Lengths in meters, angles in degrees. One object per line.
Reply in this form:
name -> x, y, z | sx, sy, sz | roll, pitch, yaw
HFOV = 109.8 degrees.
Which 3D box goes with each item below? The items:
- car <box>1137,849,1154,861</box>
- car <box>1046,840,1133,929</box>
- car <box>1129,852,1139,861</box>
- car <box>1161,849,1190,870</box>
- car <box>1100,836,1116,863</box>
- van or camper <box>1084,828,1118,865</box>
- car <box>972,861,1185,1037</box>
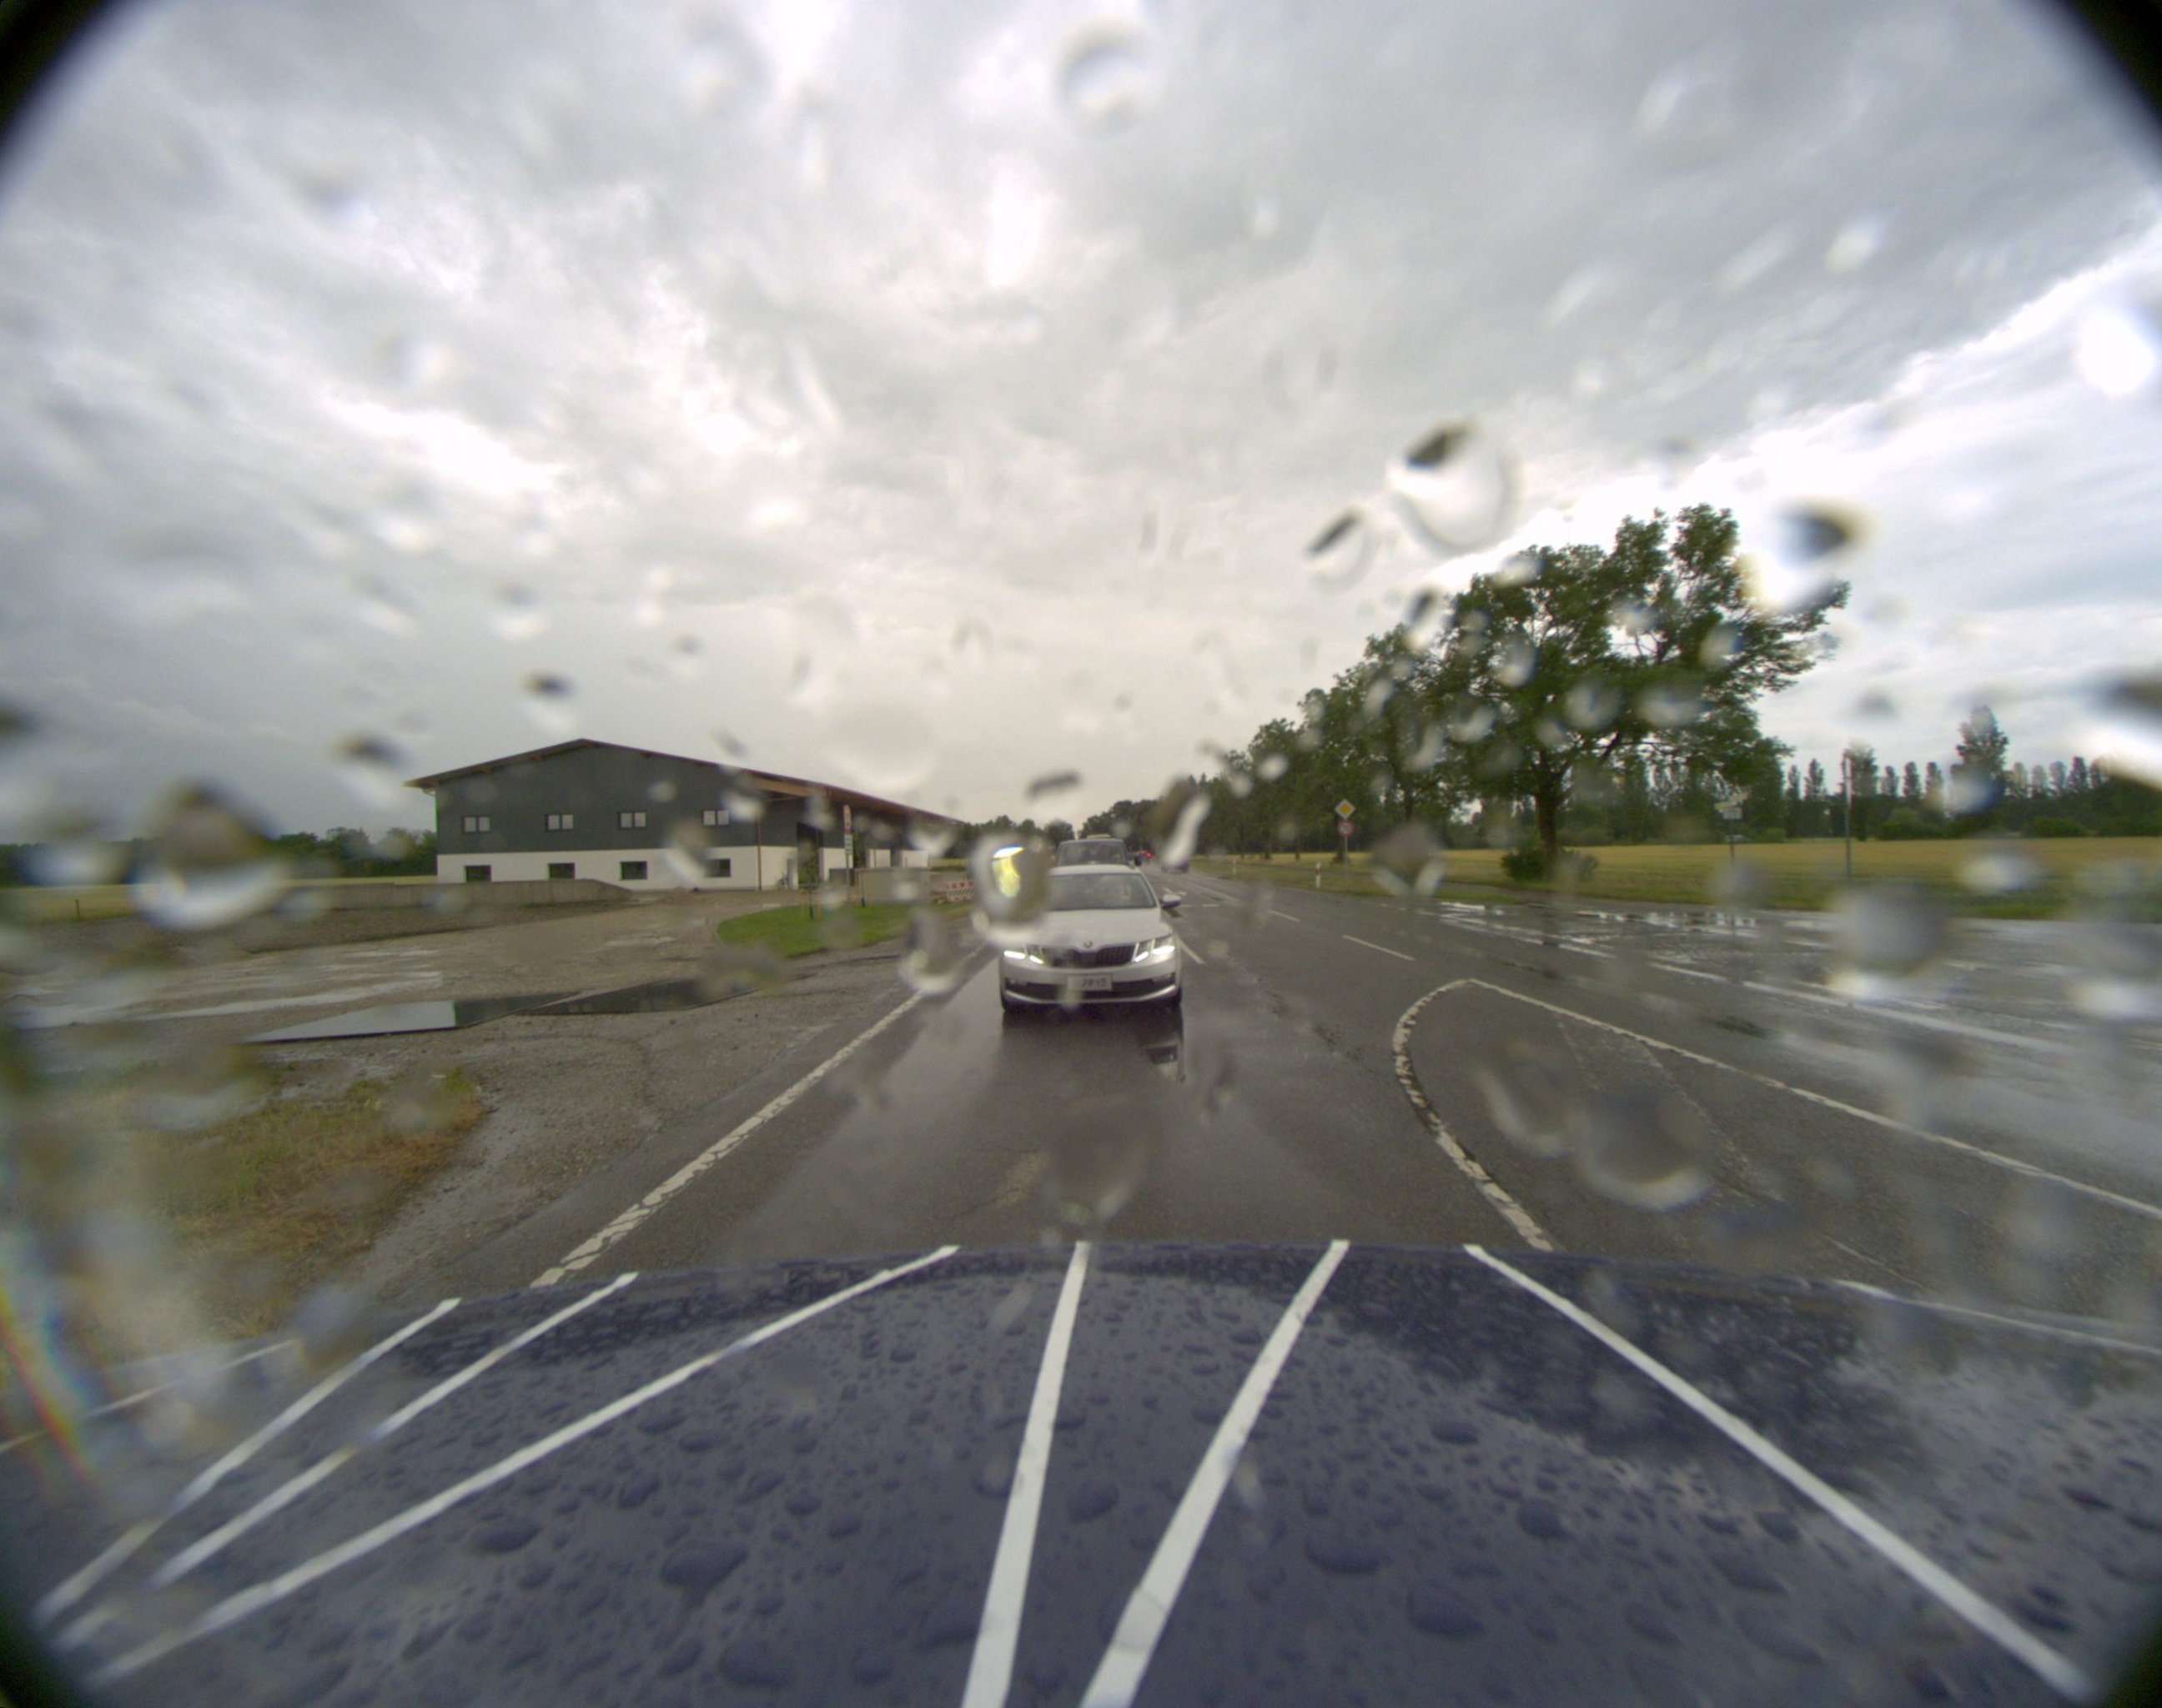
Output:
car -> 8.220, 0.111, 97.392 | 1.948, 1.571, 4.443 | 0, 0, 1
car -> 0.254, 0.637, 18.808 | 1.841, 1.888, 4.576 | -2, 1, 2
car -> 8.729, 0.447, 125.411 | 1.716, 1.397, 3.814 | 0, 0, 3
car -> 7.051, 0.368, 57.273 | 1.773, 1.514, 4.141 | 0, 0, 2
car -> 3.268, -0.506, 92.666 | 1.771, 3.134, 4.028 | -2, 1, 1
van or camper -> 2.175, -0.773, 80.733 | 3.342, 3.624, 8.373 | -2, 1, 2
car -> 0.049, 0.836, 8.737 | 1.770, 1.365, 4.576 | -2, 1, 2
